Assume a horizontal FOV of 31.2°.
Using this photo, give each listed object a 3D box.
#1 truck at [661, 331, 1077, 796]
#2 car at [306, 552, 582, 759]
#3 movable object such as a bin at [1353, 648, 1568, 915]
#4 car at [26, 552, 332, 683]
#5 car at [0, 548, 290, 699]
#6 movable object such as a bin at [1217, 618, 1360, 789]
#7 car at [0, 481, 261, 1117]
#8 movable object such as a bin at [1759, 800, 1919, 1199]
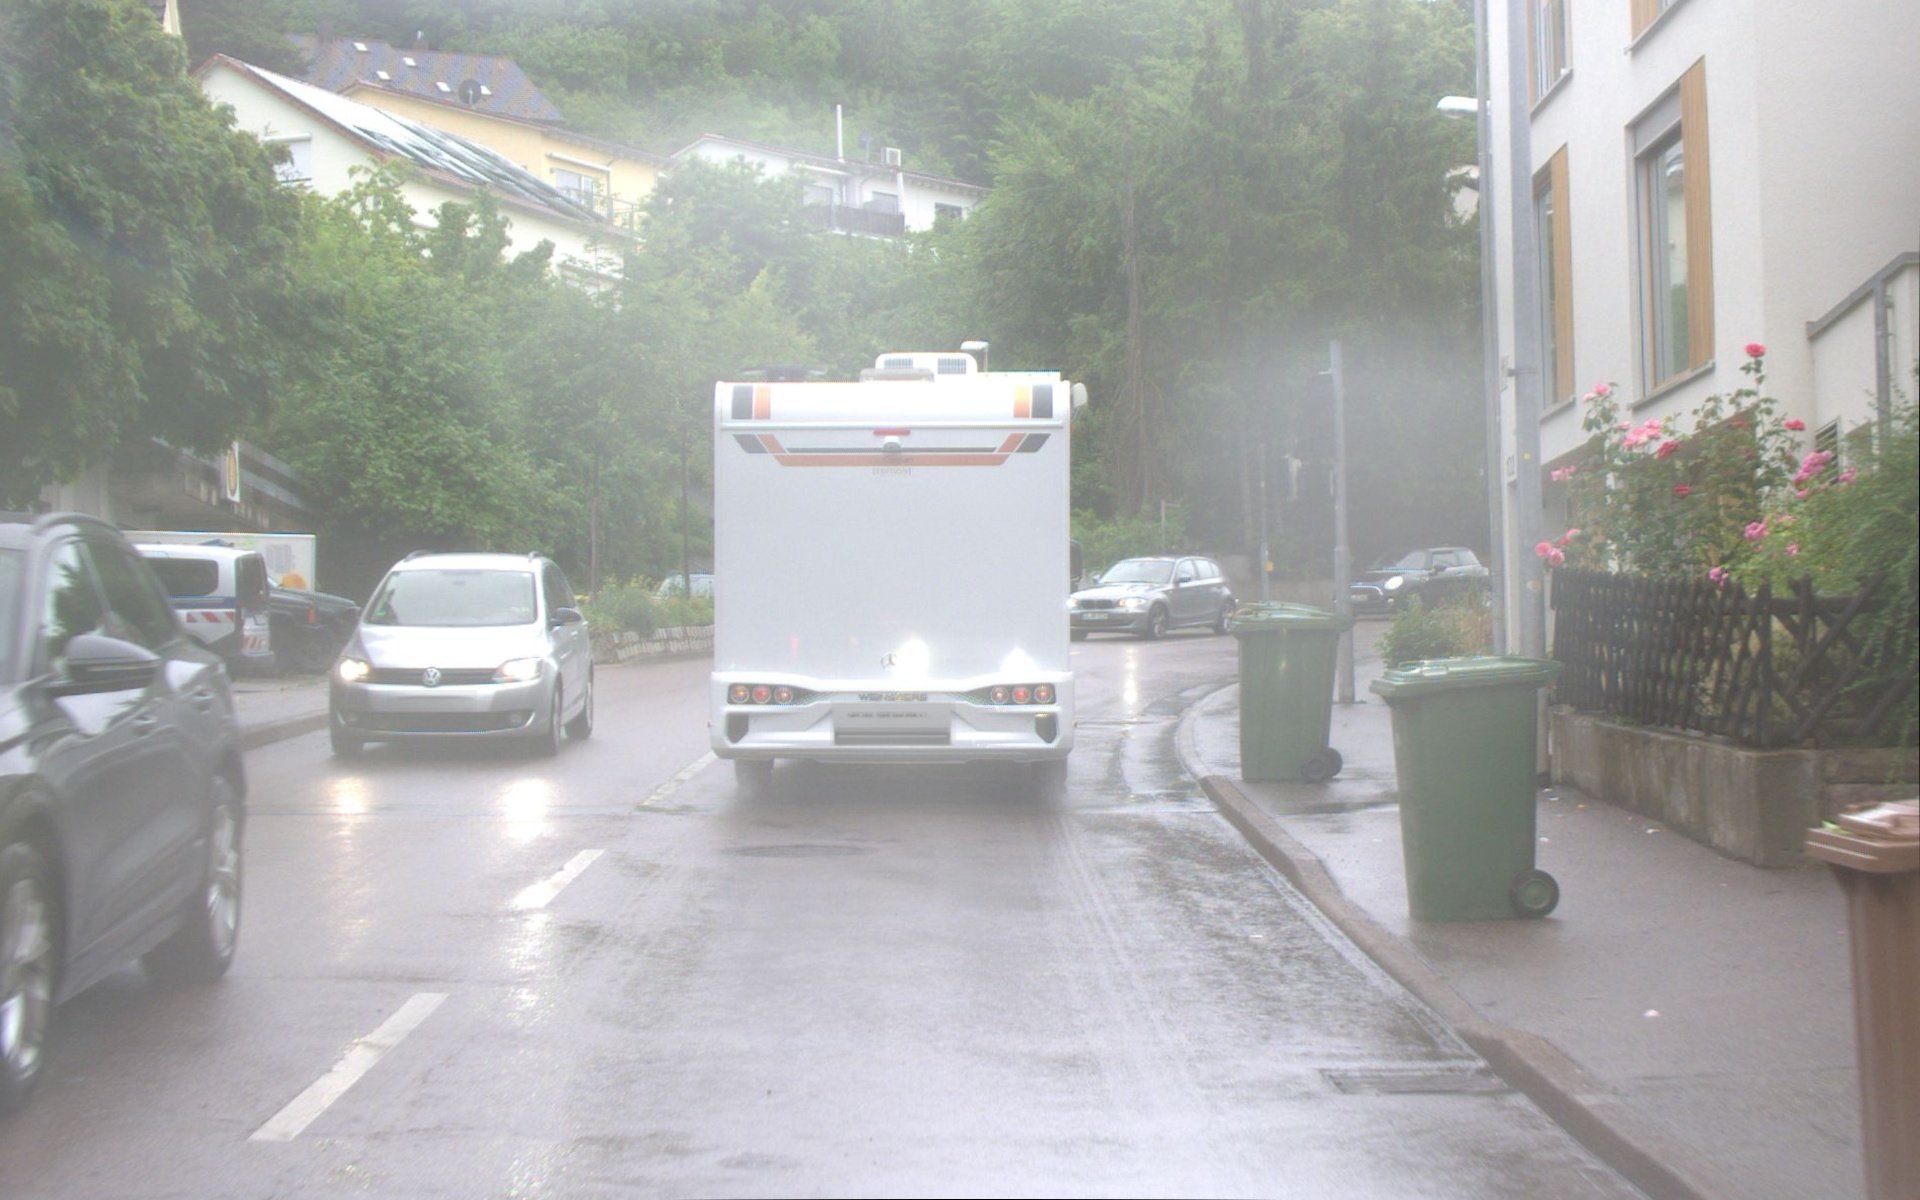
[{"bbox_3d":[-0.522,-0.246,23.874,2.515,2.808,6.201,0,0,1],"label":"truck"},{"bbox_3d":[-4.077,0.397,27.693,1.804,1.548,3.830,0,0,-2],"label":"car"},{"bbox_3d":[2.070,0.740,14.304,0.796,1.066,0.761,0,0,1],"label":"movable object such as a bin"},{"bbox_3d":[-10.849,0.241,48.004,4.075,1.768,1.800,0,0,-10],"label":"car"},{"bbox_3d":[-10.424,0.270,41.893,4.106,1.794,2.000,0,0,1],"label":"car"},{"bbox_3d":[2.073,0.646,21.762,0.835,1.057,0.750,0,0,0],"label":"movable object such as a bin"},{"bbox_3d":[-3.464,0.492,10.490,1.918,1.618,4.363,0,0,-2],"label":"car"},{"bbox_3d":[2.026,0.878,6.994,0.630,0.894,0.712,0,0,-1],"label":"movable object such as a bin"}]
